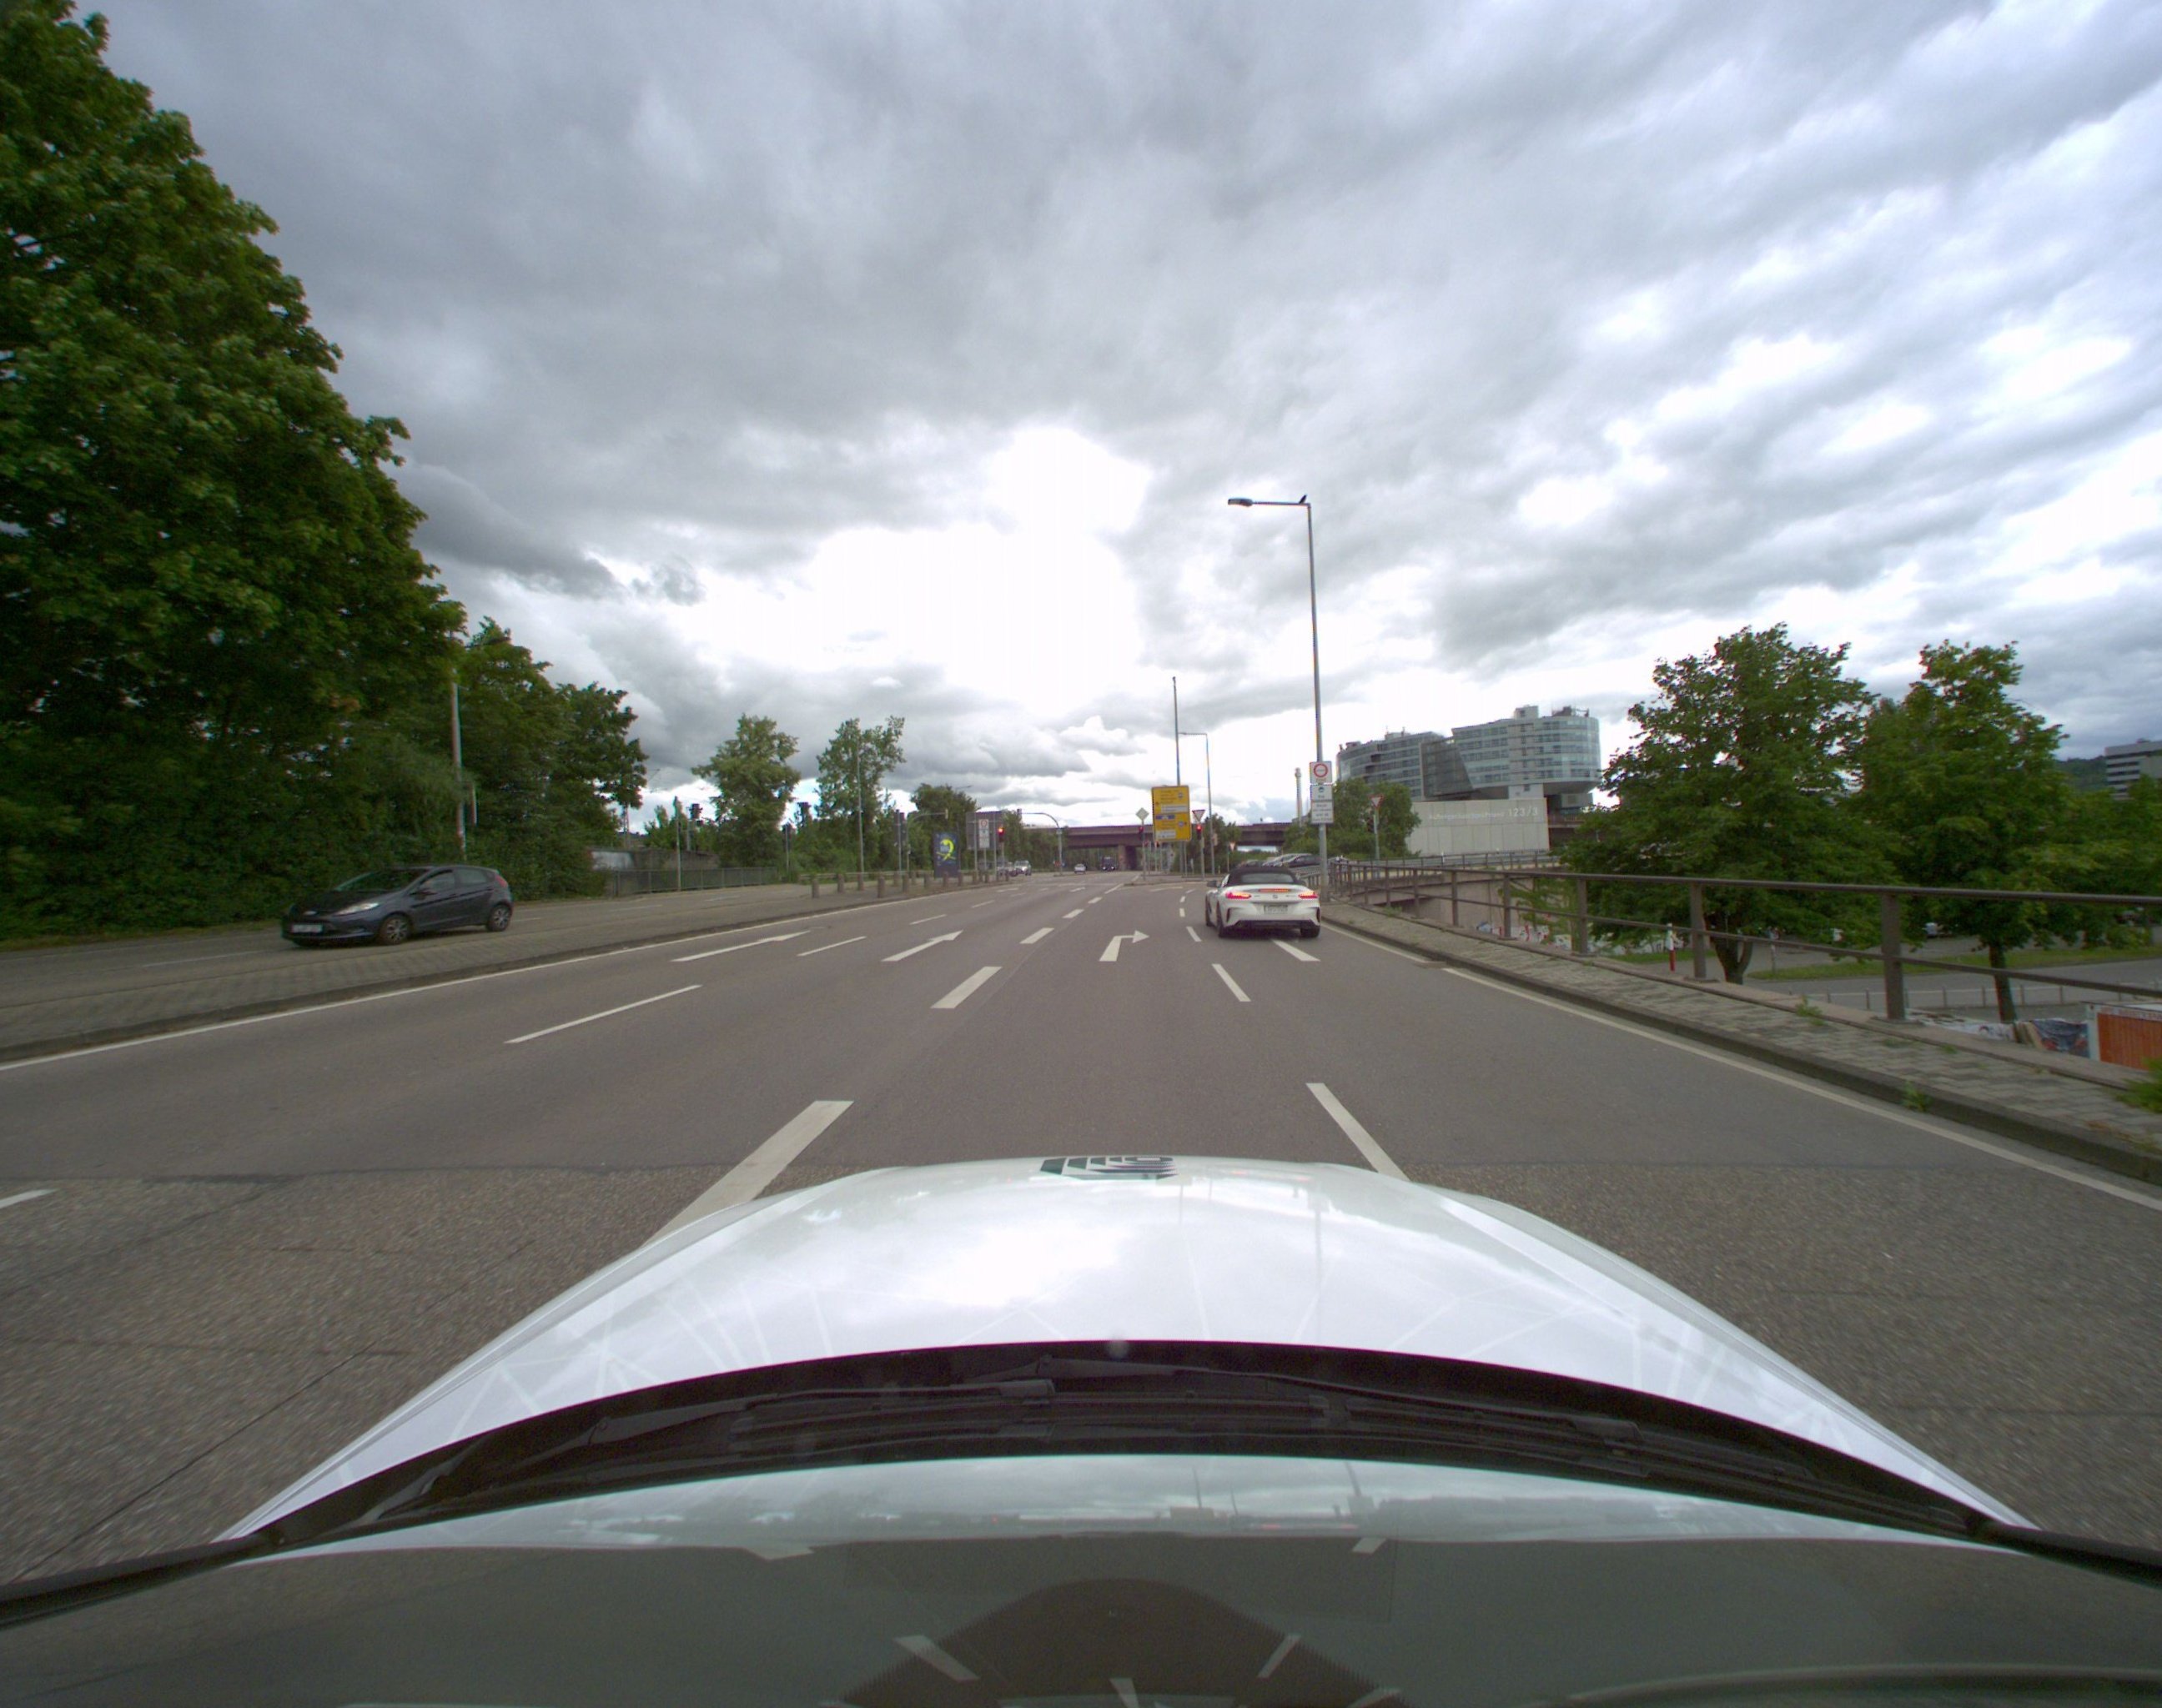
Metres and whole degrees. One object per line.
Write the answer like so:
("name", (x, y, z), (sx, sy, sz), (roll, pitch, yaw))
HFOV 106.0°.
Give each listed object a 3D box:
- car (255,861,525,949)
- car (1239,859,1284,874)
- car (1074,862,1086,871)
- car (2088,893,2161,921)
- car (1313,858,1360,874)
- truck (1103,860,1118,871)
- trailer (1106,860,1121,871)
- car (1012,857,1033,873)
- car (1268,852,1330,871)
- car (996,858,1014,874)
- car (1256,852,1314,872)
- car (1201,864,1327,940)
("car", (-13.012, 0.879, 15.729), (1.692, 1.464, 4.002), (0, 0, 2))
("car", (18.407, 1.278, 83.055), (4.057, 1.464, 2.012), (-2, -3, 31))
("car", (-0.159, 2.134, 139.063), (1.717, 1.400, 4.070), (-2, 0, 4))
("car", (70.729, 3.543, 54.816), (3.981, 1.534, 1.824), (-3, 0, -5))
("car", (24.909, 1.200, 79.494), (4.059, 1.442, 2.011), (-1, -3, 26))
("truck", (7.070, 2.726, 193.895), (2.595, 2.624, 5.798), (2, 0, 12))
("trailer", (8.027, 2.845, 199.270), (2.585, 2.624, 8.593), (2, 0, 10))
("car", (-6.491, 1.221, 90.682), (1.717, 1.737, 4.558), (-2, -1, 2))
("car", (18.011, 0.621, 67.411), (4.591, 1.457, 1.955), (-1, 0, -1))
("car", (-7.621, 1.228, 82.171), (1.721, 1.462, 4.237), (1, -3, -4))
("car", (17.798, 0.669, 71.193), (4.659, 1.571, 1.957), (-1, 0, 2))
("car", (3.539, 0.872, 16.465), (1.797, 1.291, 4.267), (0, 0, 3))
